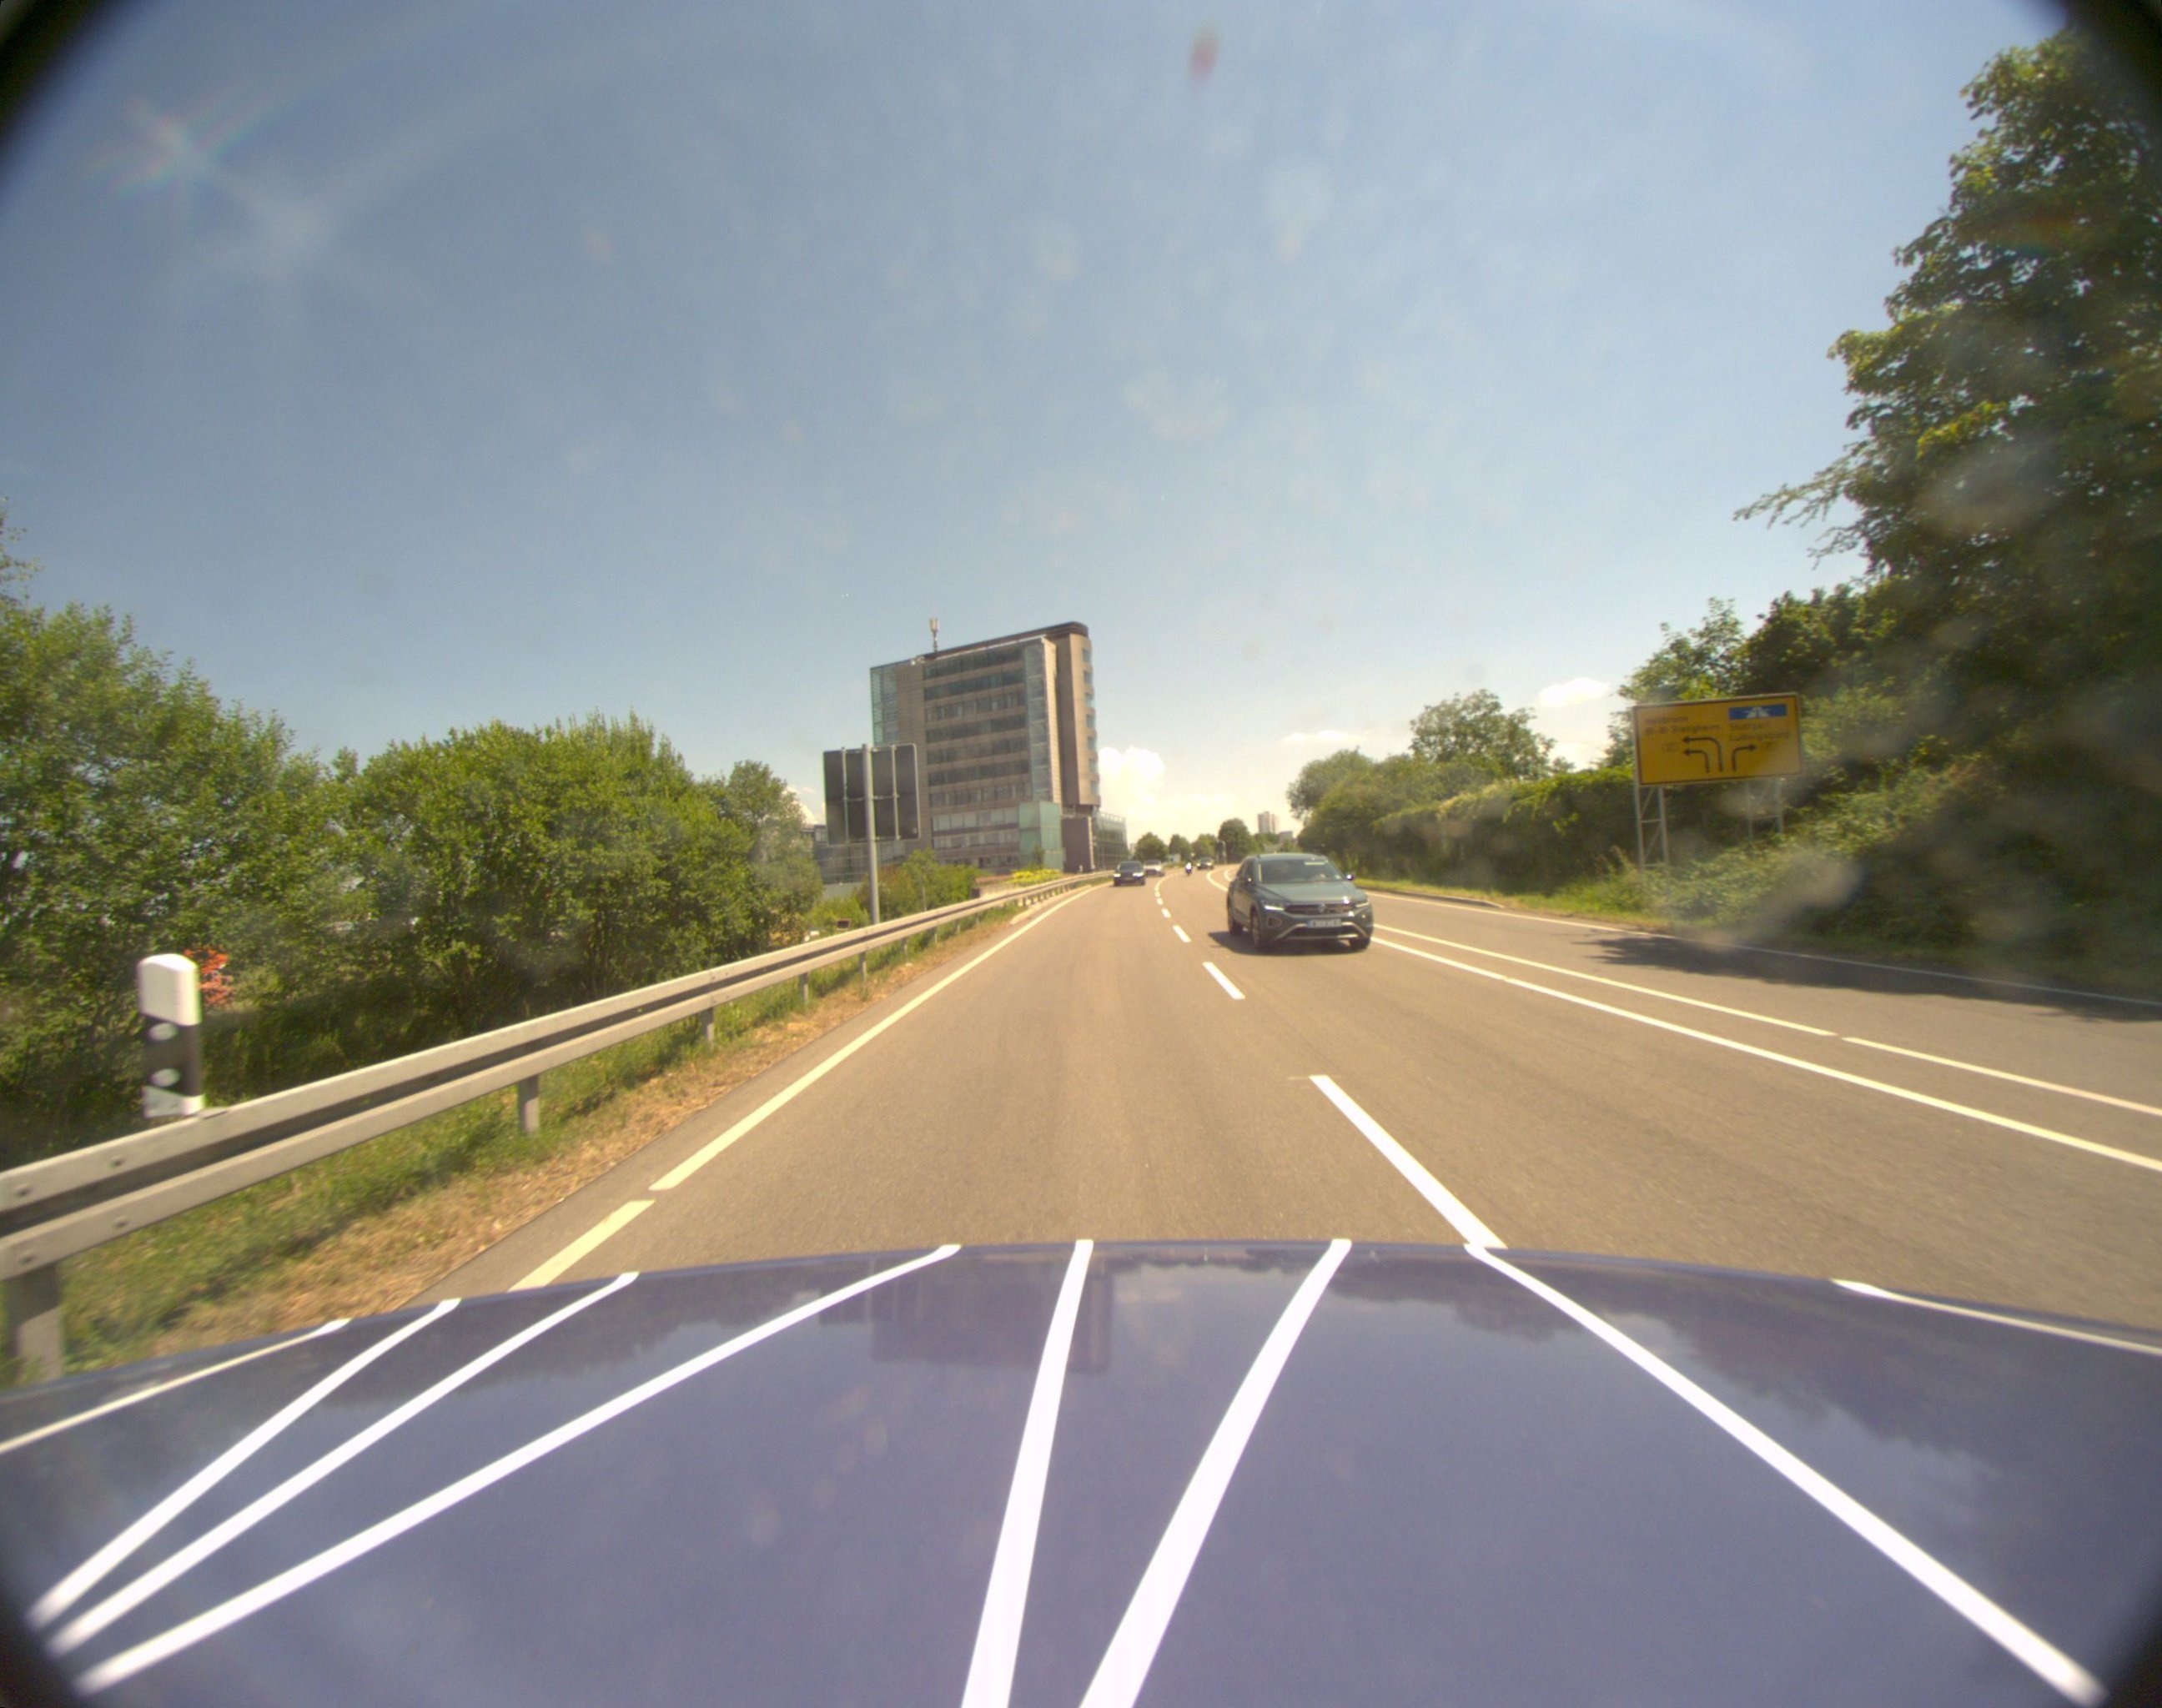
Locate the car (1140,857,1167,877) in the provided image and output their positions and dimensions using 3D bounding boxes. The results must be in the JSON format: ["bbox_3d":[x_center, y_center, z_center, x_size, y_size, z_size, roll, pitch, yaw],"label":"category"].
[{"bbox_3d":[6.444,1.161,67.175,1.932,1.576,4.184,-5,-2,9],"label":"car"}]

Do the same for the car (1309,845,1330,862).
[{"bbox_3d":[38.332,-0.081,121.970,2.190,2.526,6.047,-3,0,26],"label":"car"}]

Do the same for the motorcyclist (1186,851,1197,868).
[{"bbox_3d":[9.435,0.461,64.799,0.860,1.479,1.162,-1,0,6],"label":"motorcyclist"}]

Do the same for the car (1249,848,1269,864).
[{"bbox_3d":[19.256,0.182,82.218,1.997,1.619,4.201,-2,0,13],"label":"car"}]

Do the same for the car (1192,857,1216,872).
[{"bbox_3d":[15.054,1.249,92.860,2.115,1.581,4.456,-3,0,18],"label":"car"}]

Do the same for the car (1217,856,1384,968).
[{"bbox_3d":[3.619,0.864,13.378,1.839,1.577,4.392,-2,0,3],"label":"car"}]

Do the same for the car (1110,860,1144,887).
[{"bbox_3d":[2.827,1.121,45.720,1.779,1.497,4.563,-2,-1,6],"label":"car"}]

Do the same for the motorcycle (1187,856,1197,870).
[{"bbox_3d":[9.469,0.789,64.898,0.733,1.131,2.074,-1,-1,6],"label":"motorcycle"}]
